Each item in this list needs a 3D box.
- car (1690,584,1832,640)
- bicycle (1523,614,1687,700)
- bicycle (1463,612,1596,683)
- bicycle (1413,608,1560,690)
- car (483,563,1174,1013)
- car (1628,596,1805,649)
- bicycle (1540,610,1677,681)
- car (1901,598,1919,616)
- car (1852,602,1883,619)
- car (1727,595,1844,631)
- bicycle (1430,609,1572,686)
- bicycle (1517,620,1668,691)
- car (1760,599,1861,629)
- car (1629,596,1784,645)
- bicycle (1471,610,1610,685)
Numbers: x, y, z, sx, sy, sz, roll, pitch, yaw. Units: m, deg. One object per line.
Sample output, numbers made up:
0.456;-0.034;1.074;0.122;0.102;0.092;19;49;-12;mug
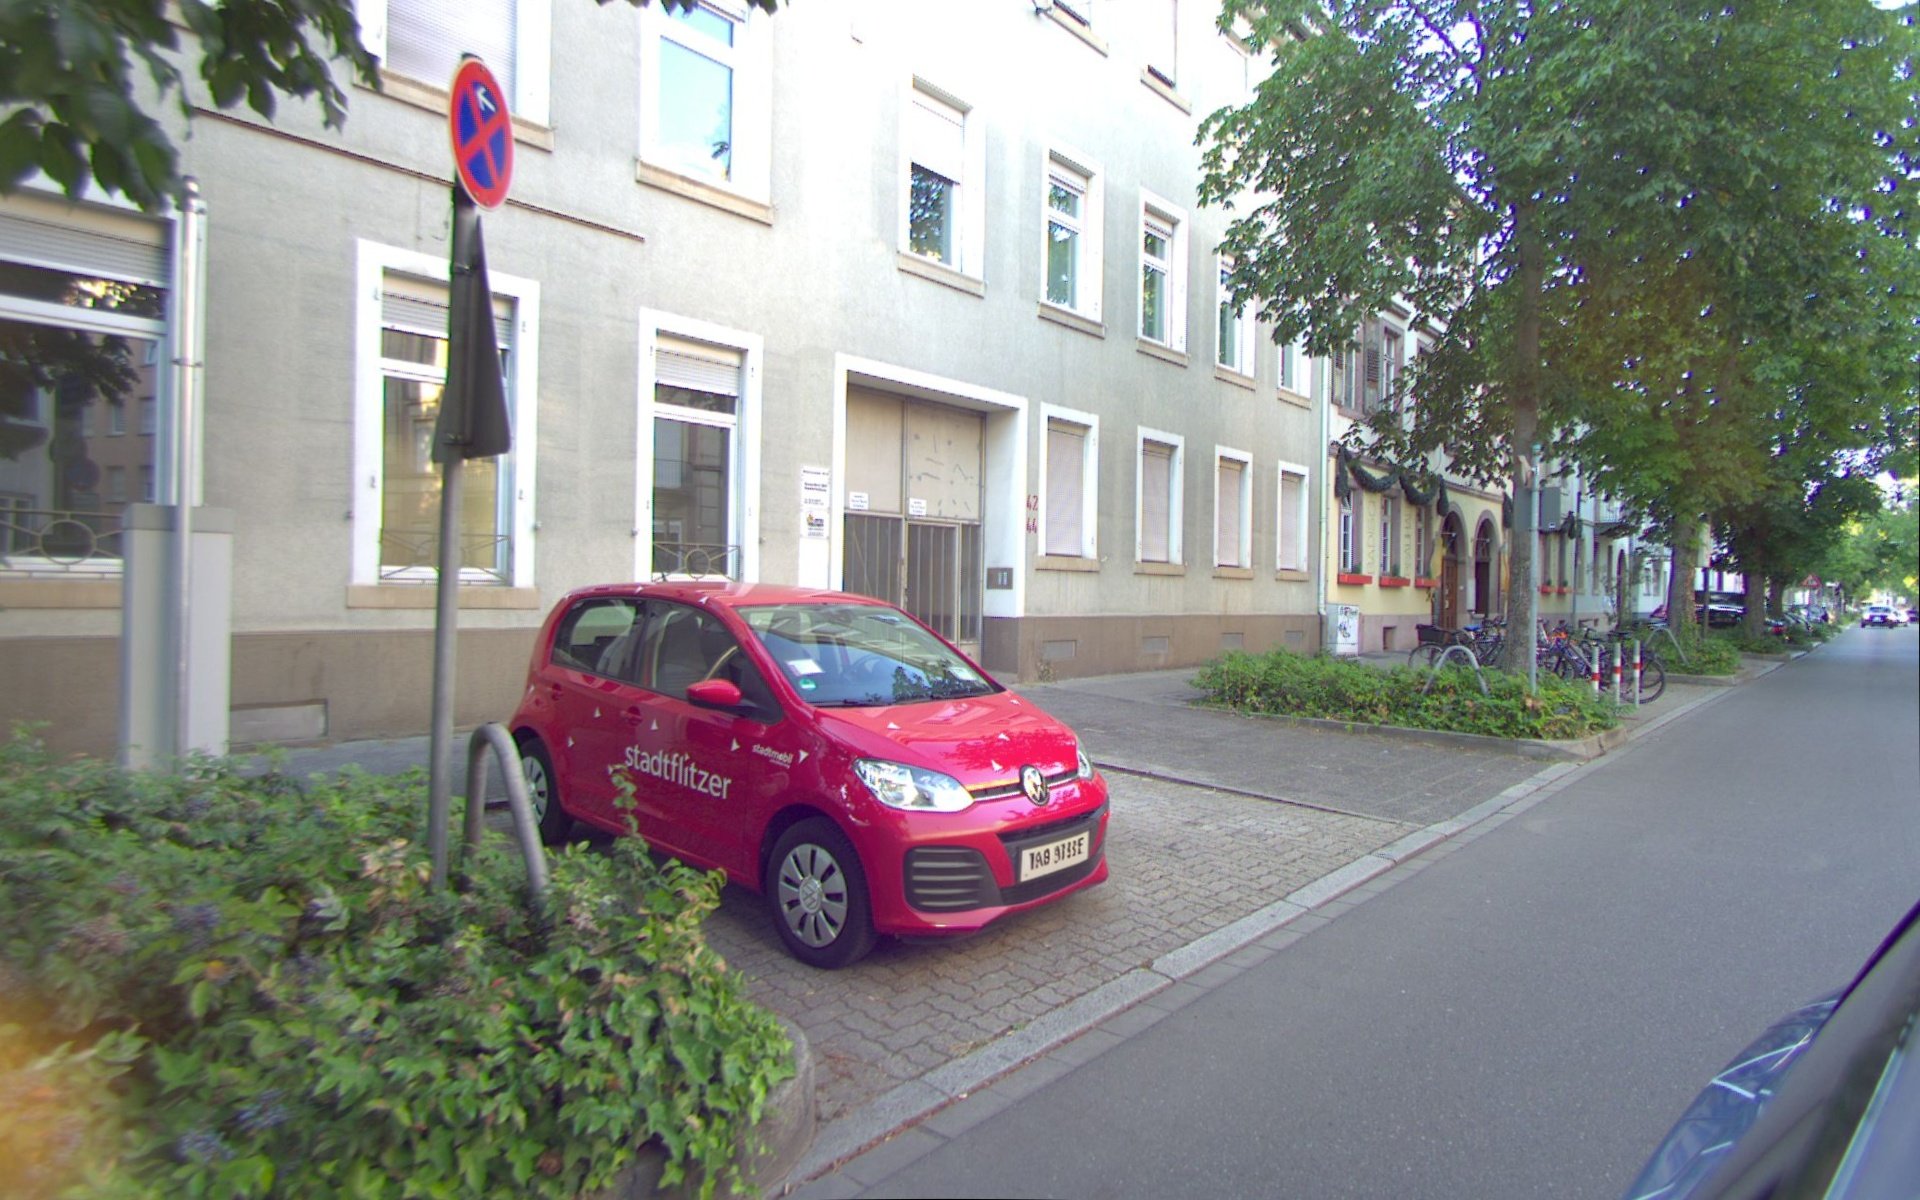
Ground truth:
33.135;0.443;41.948;1.748;2.150;4.434;1;0;-45;car
9.735;0.832;15.350;2.036;1.160;0.439;2;1;45;bicycle
10.236;0.823;18.250;2.035;1.160;0.415;2;1;43;bicycle
8.326;0.741;16.081;0.439;1.160;2.038;1;1;-42;bicycle
-0.907;0.594;5.237;3.654;1.494;1.542;3;1;42;car
24.667;0.681;33.106;1.748;1.524;4.434;1;1;-45;car
11.689;0.800;18.291;2.035;1.160;0.415;2;1;43;bicycle
84.167;0.613;87.605;3.939;1.551;1.779;1;0;-7;car
75.137;0.851;83.806;1.822;1.389;3.937;1;1;43;car
41.648;0.629;51.130;1.748;1.633;4.434;1;1;-45;car
8.973;0.760;16.859;2.035;1.160;0.415;2;1;43;bicycle
10.283;0.879;16.513;2.035;1.016;0.415;2;1;43;bicycle
50.453;0.783;60.094;1.748;1.633;4.434;1;1;-45;car
27.782;0.725;37.746;1.748;1.633;4.434;1;1;-45;car
10.012;0.790;17.524;2.035;1.160;0.415;2;1;43;bicycle
